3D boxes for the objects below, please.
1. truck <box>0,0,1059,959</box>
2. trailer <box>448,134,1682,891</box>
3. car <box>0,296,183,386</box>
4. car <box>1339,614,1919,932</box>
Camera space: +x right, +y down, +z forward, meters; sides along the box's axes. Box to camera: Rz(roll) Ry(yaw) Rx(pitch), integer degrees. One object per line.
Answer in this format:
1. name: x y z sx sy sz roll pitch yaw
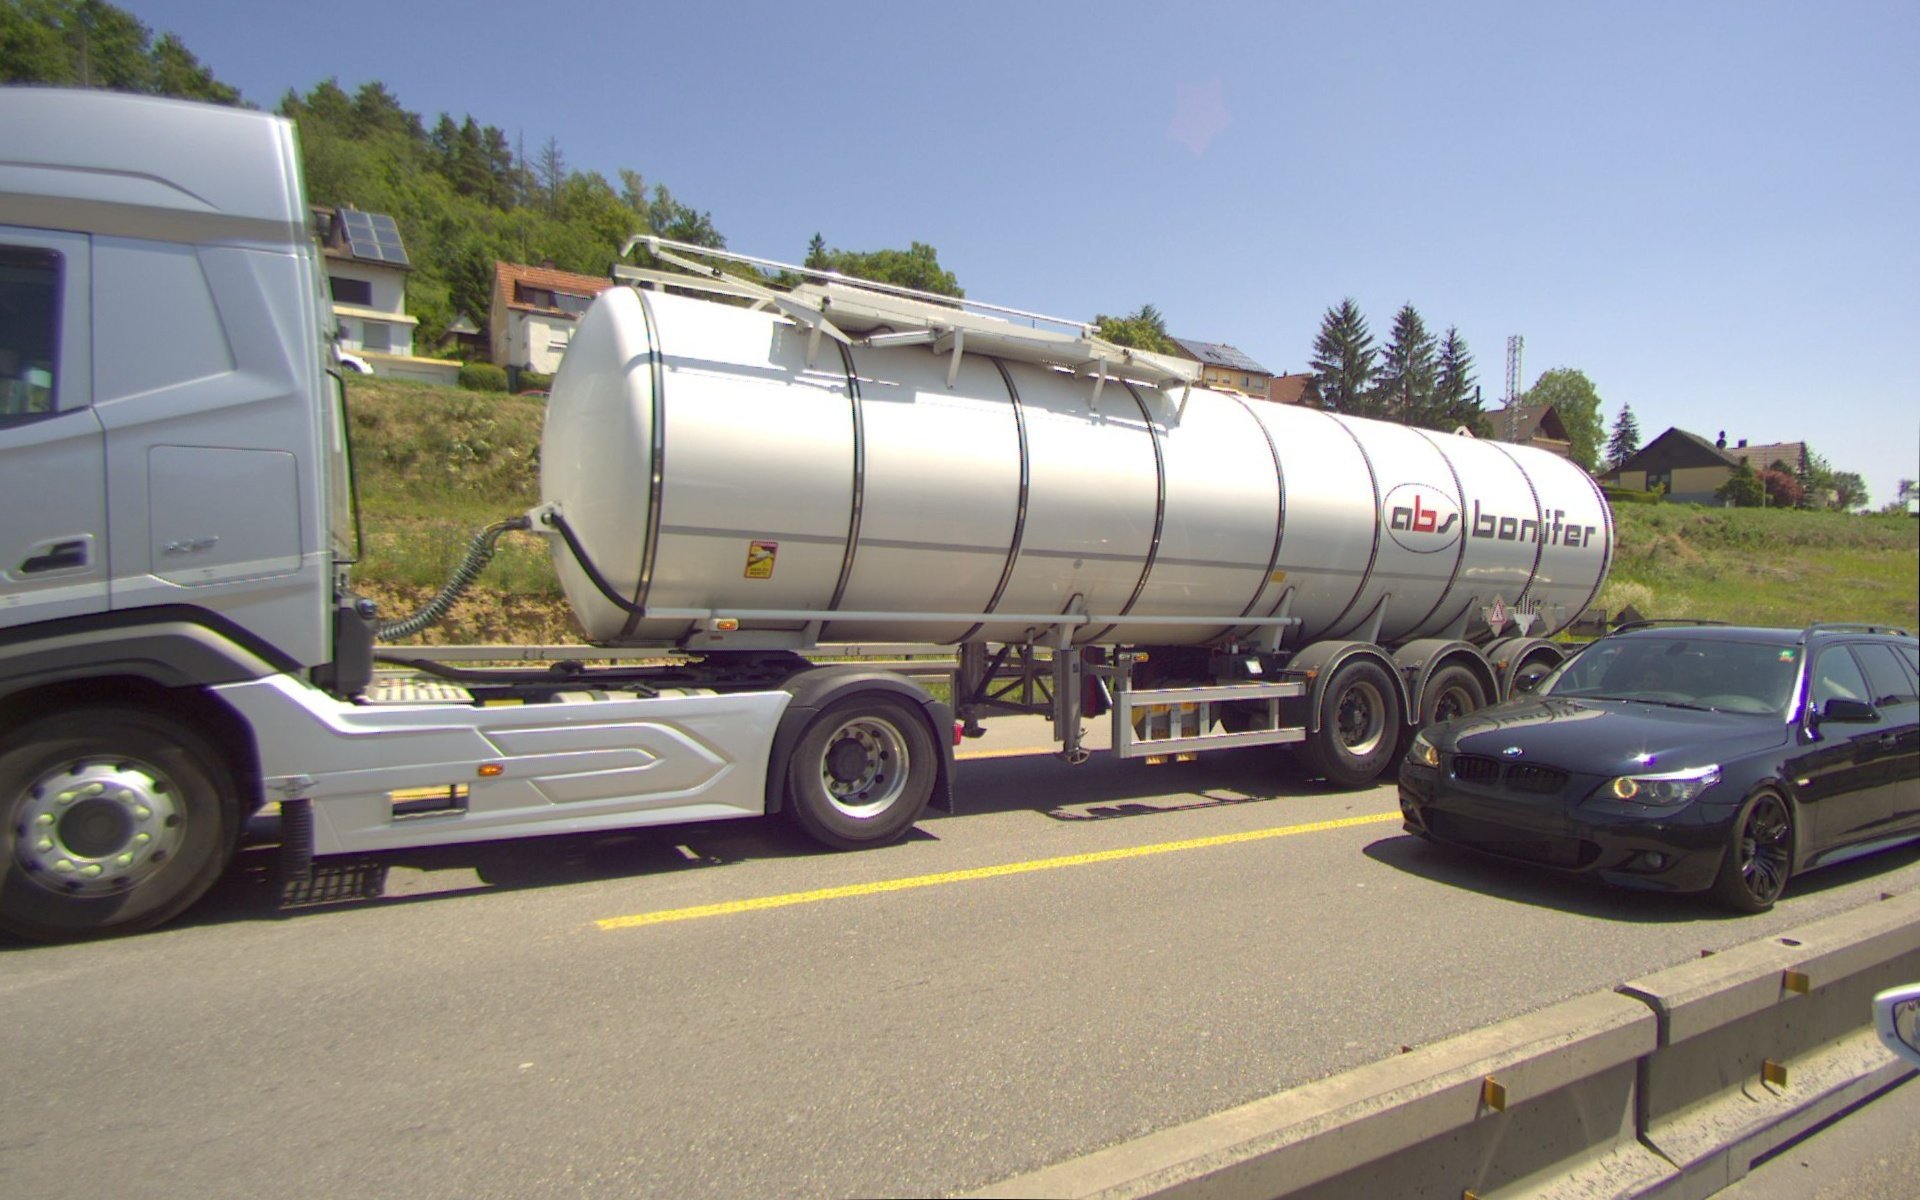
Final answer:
1. truck: -2.748 -0.439 6.095 6.204 3.722 2.765 1 0 -31
2. trailer: 2.043 -0.327 8.993 11.657 3.642 2.703 1 0 -31
3. car: -29.958 -8.856 34.634 4.751 1.817 2.334 3 -1 -33
4. car: 4.824 0.839 6.561 4.622 1.433 1.886 1 0 -30
